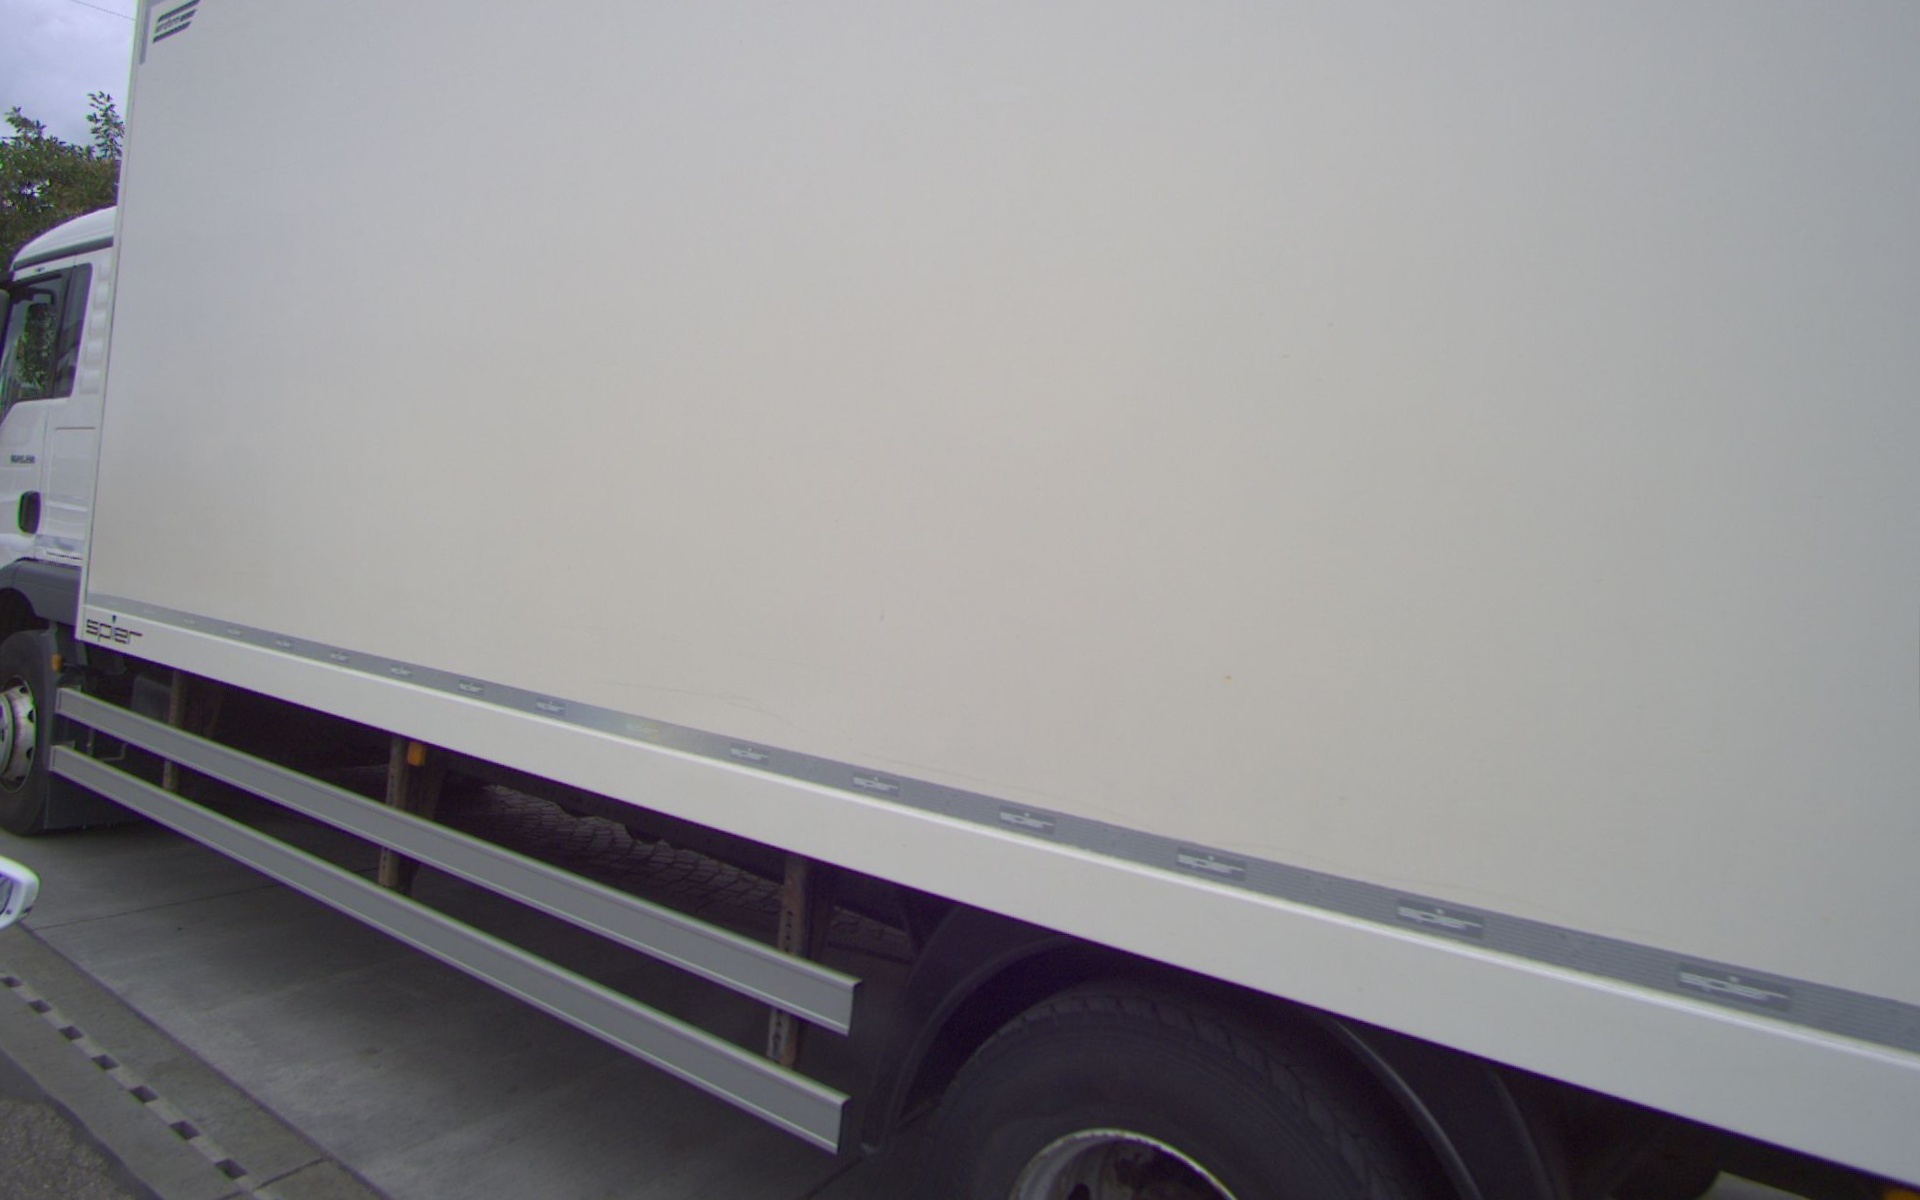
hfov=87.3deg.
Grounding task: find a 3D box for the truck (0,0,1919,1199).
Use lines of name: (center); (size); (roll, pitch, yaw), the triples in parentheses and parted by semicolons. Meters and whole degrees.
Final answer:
truck: (-0.657, -0.477, 3.672); (9.603, 3.606, 2.691); (7, 1, 31)
